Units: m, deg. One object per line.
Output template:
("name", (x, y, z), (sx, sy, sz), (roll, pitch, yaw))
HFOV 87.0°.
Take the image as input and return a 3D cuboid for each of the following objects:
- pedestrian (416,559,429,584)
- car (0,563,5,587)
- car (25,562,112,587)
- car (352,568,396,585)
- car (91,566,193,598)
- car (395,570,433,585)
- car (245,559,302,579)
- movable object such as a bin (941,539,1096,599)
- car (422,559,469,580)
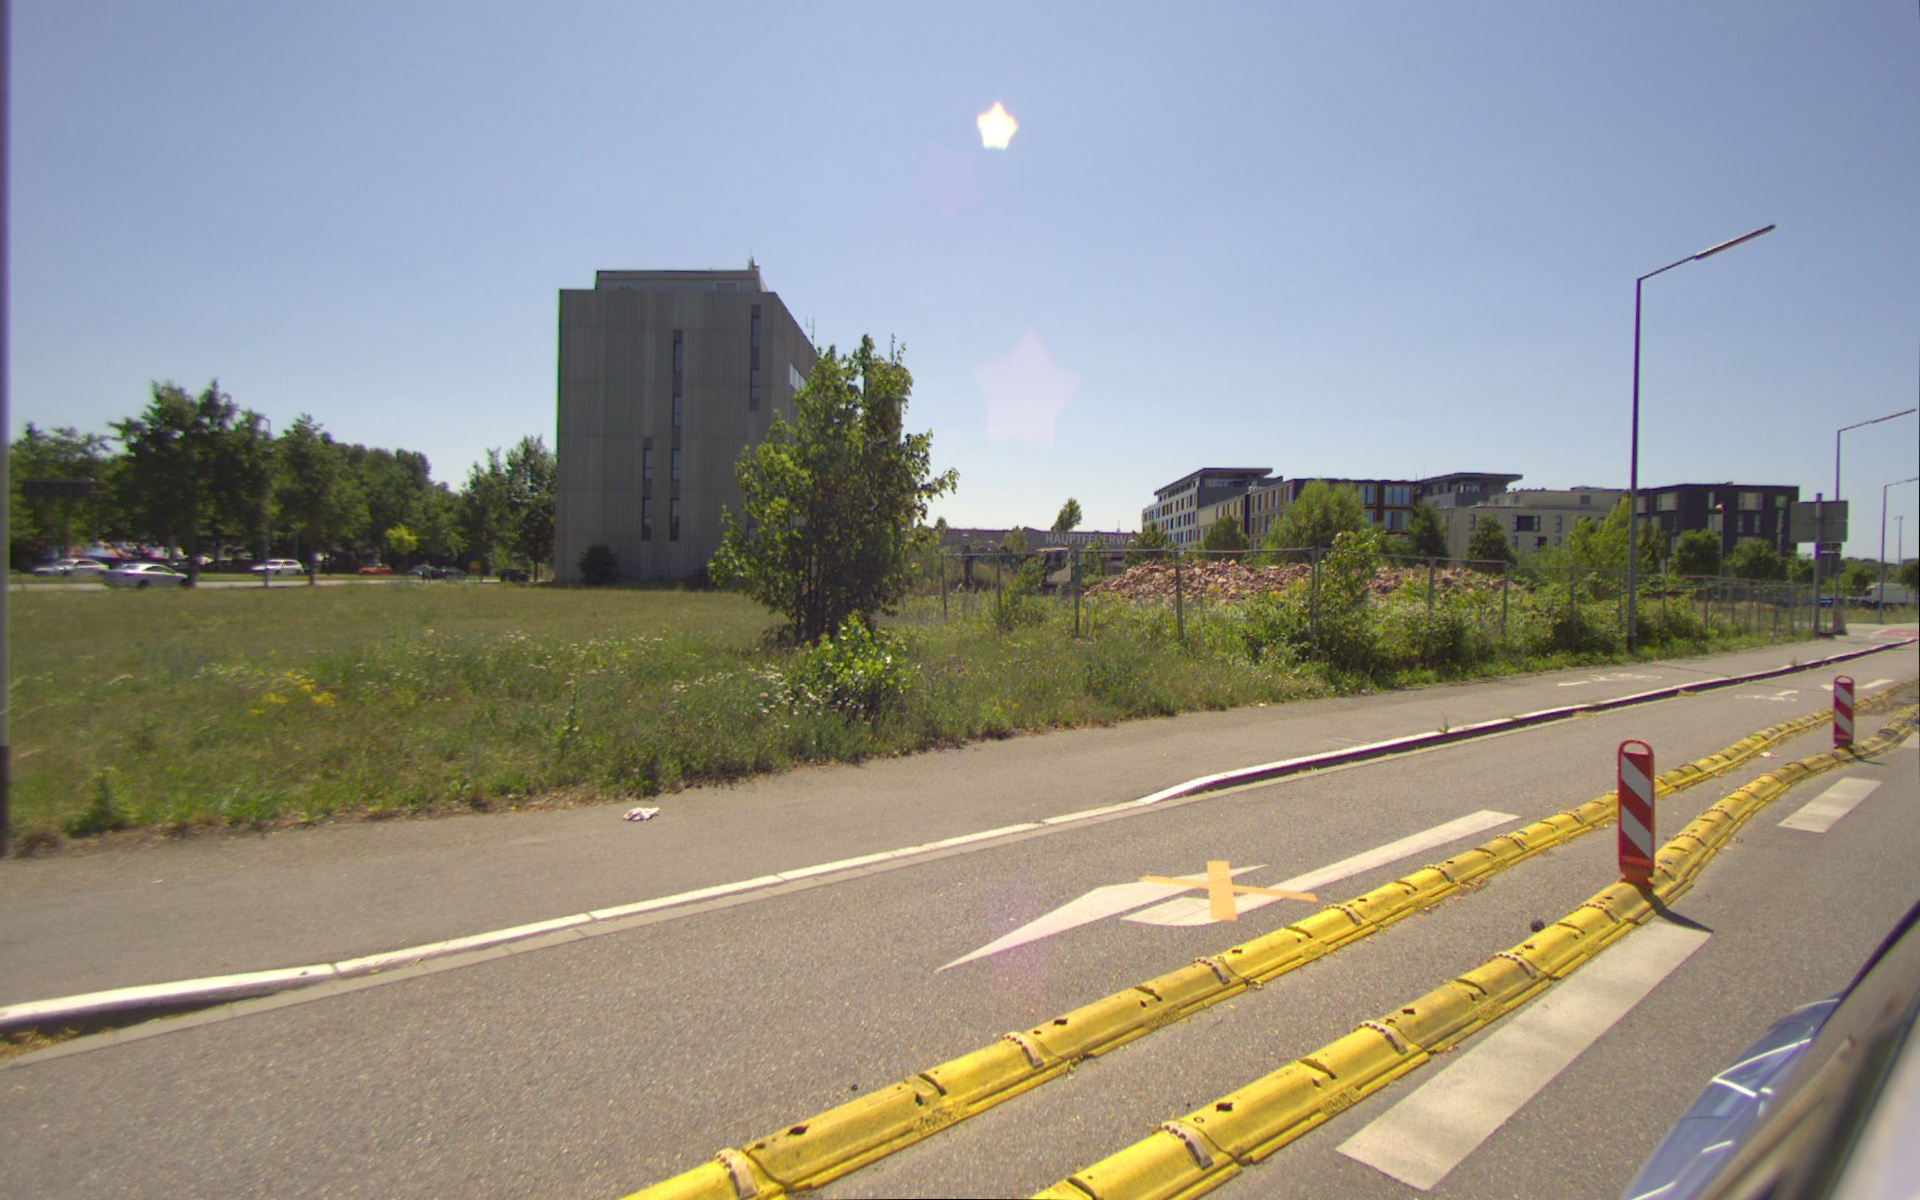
("pedestrian", (-33.935, -1.799, 63.908), (0.652, 1.611, 0.557), (0, 0, -15))
("car", (-61.903, -1.580, 62.642), (1.734, 1.557, 3.997), (0, 0, 3))
("car", (-58.893, -1.650, 66.982), (1.814, 1.612, 4.443), (0, 0, 1))
("car", (-58.698, -2.312, 101.495), (1.814, 1.612, 4.415), (0, 0, 1))
("car", (-43.003, -0.969, 53.341), (1.961, 1.546, 4.423), (1, 1, -3))
("car", (-60.532, -2.432, 112.310), (1.814, 1.612, 4.443), (0, 0, 1))
("car", (-58.338, -2.626, 86.071), (1.814, 1.612, 4.444), (0, 0, 1))
("movable object such as a bin", (3.122, -1.593, 53.305), (7.537, 2.952, 3.242), (-1, 0, -26))
("car", (-48.010, -2.824, 94.613), (1.960, 1.757, 5.334), (0, 0, -4))
